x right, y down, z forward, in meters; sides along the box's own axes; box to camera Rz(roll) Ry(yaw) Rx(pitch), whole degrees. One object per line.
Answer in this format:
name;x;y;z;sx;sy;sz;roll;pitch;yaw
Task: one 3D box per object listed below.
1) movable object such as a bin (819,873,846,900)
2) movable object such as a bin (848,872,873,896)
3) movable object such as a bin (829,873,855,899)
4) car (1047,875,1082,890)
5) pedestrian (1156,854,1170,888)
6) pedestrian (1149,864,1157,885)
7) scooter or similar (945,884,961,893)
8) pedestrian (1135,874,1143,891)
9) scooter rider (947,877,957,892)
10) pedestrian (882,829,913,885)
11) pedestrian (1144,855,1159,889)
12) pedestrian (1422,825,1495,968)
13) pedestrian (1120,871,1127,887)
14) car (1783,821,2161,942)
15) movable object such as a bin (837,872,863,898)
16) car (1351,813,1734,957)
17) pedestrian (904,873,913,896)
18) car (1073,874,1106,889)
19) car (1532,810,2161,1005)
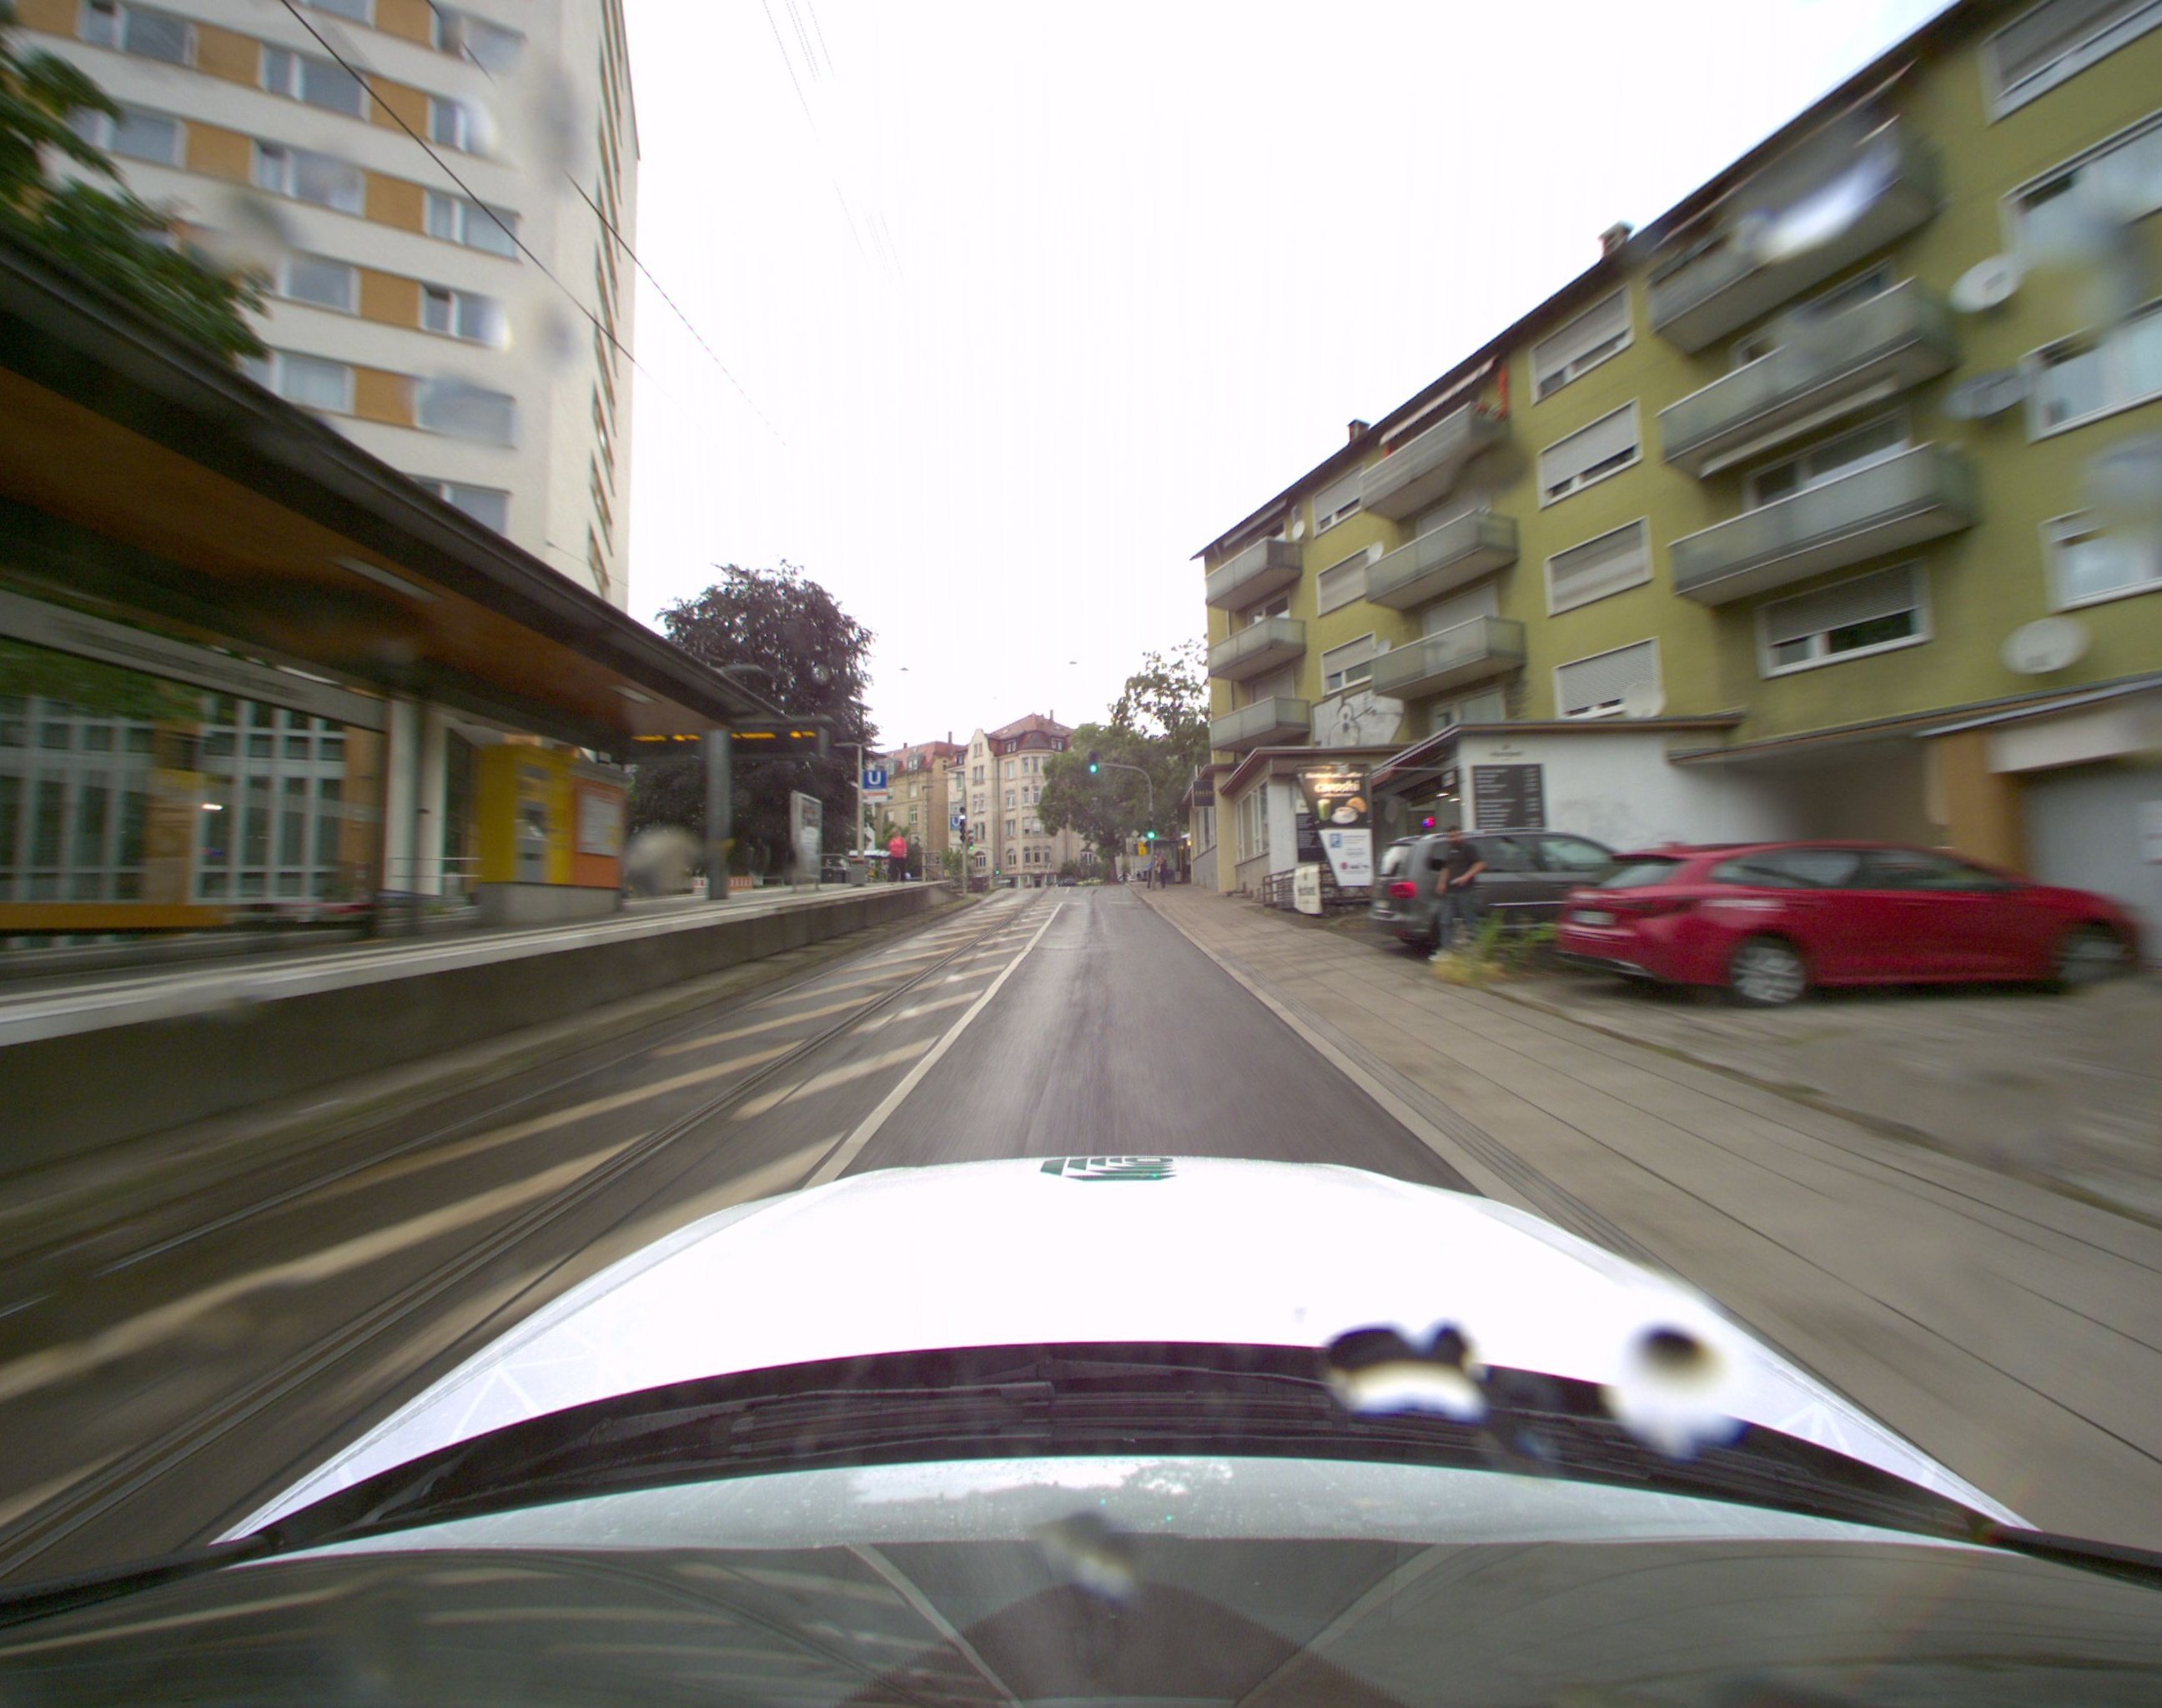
movable object such as a bin;-13.488;1.743;44.242;1.016;1.434;1.305;0;-2;3
movable object such as a bin;-13.294;1.809;49.090;1.016;1.434;1.428;0;-2;3
movable object such as a bin;-13.424;1.766;45.754;1.016;1.434;1.356;0;-2;3
car;-1.861;3.265;92.922;3.690;1.508;1.717;-1;-3;-41
pedestrian;3.923;0.811;39.016;0.544;1.554;0.558;-3;-2;-2
pedestrian;4.032;1.146;45.485;0.324;1.150;0.317;-4;-1;-3
scooter or similar;-15.010;4.058;95.480;1.983;1.050;0.518;-1;-7;28
pedestrian;5.656;2.749;79.386;0.547;1.630;0.595;1;-2;-32
scooter rider;-15.147;3.605;95.663;0.833;1.707;0.628;-1;-7;28
pedestrian;-5.206;0.086;23.123;0.669;1.548;0.771;-2;-1;0
pedestrian;3.325;0.852;38.625;0.586;1.554;0.650;-3;-2;0
pedestrian;4.746;0.521;10.285;0.602;1.714;0.724;-4;-1;14
pedestrian;4.220;2.410;80.107;0.599;1.566;0.544;0;-2;-9
car;12.882;0.393;11.336;4.494;1.401;1.781;-3;-5;2
movable object such as a bin;-13.427;1.791;47.292;1.016;1.434;1.445;0;-2;3
car;6.265;0.409;11.477;4.310;1.674;1.782;-3;0;3
pedestrian;-13.098;2.340;61.929;0.567;1.684;0.773;-2;-3;-7
car;1.015;3.192;95.713;3.690;1.508;1.717;-1;-3;-41
car;7.077;0.473;7.745;4.553;1.438;1.765;-3;-2;0
